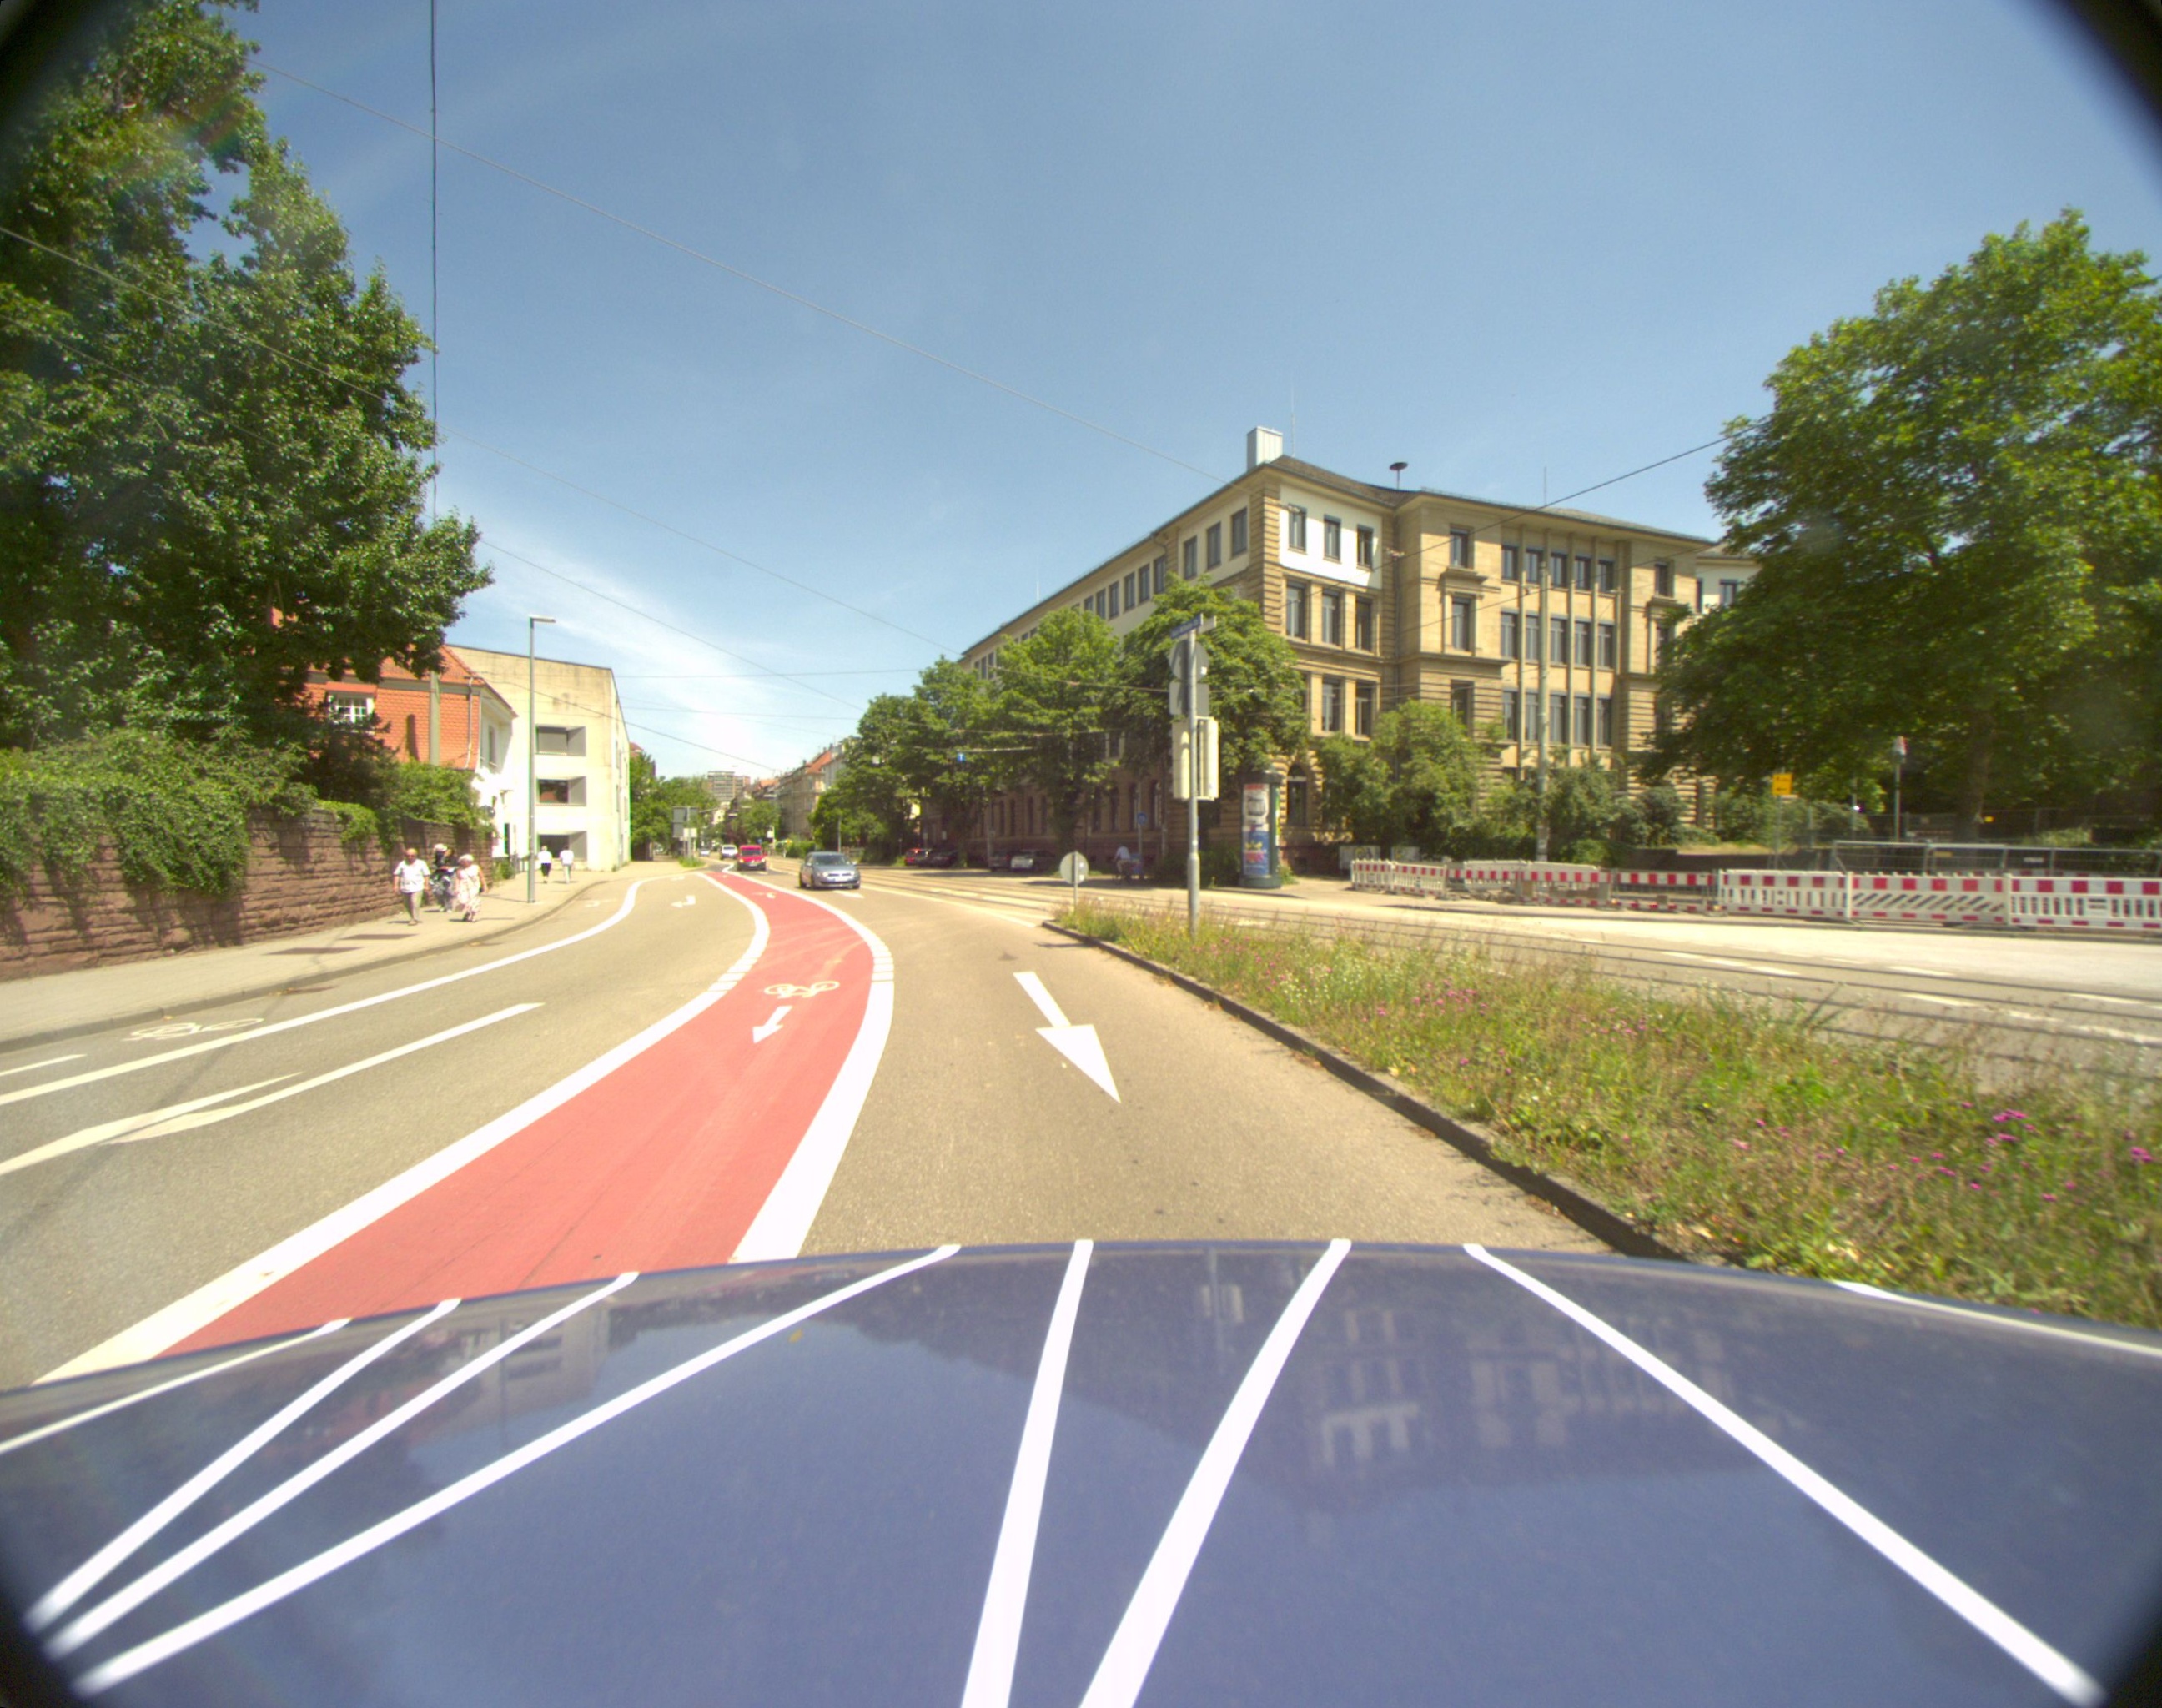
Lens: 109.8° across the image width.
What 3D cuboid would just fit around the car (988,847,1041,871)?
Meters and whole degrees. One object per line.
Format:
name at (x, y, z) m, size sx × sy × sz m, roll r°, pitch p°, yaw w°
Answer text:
car at (-4.361, 0.338, 50.035) m, size 1.567 × 1.454 × 3.156 m, roll -1°, pitch 1°, yaw 44°

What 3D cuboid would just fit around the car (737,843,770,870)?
car at (-23.208, 0.180, 53.833) m, size 1.836 × 1.756 × 4.270 m, roll -3°, pitch 1°, yaw -26°

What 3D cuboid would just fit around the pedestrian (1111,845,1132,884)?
pedestrian at (1.744, 0.434, 32.778) m, size 0.725 × 1.661 × 0.643 m, roll 0°, pitch 1°, yaw -24°

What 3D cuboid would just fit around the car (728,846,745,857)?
car at (-44.692, -0.306, 98.563) m, size 1.836 × 1.384 × 4.269 m, roll 0°, pitch 1°, yaw -26°

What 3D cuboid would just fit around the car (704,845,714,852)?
car at (-70.006, -1.052, 142.931) m, size 1.428 × 1.317 × 2.980 m, roll -3°, pitch 1°, yaw -28°

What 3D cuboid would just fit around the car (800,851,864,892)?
car at (-9.886, 0.636, 30.046) m, size 1.836 × 1.406 × 3.985 m, roll -1°, pitch 1°, yaw -26°

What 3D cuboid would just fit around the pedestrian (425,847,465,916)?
pedestrian at (-15.898, 0.687, 18.995) m, size 0.606 × 1.702 × 0.557 m, roll 2°, pitch -1°, yaw -27°

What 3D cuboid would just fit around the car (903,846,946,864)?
car at (-13.959, 0.104, 67.871) m, size 1.611 × 1.444 × 3.585 m, roll -2°, pitch 1°, yaw 33°

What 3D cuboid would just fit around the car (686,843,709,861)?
car at (-36.231, -0.190, 71.722) m, size 1.821 × 1.698 × 3.990 m, roll 0°, pitch 1°, yaw -28°

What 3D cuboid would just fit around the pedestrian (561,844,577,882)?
pedestrian at (-22.776, 0.401, 33.825) m, size 0.490 × 1.702 × 0.520 m, roll 2°, pitch -1°, yaw -27°

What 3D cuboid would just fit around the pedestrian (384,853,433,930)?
pedestrian at (-14.338, 0.793, 16.216) m, size 0.606 × 1.601 × 0.557 m, roll 2°, pitch -1°, yaw -26°

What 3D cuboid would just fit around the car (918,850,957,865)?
car at (-12.112, 0.301, 64.224) m, size 1.277 × 1.092 × 2.995 m, roll -1°, pitch 1°, yaw 43°

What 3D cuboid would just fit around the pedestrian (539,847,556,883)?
pedestrian at (-23.513, 0.489, 33.507) m, size 0.490 × 1.596 × 0.557 m, roll 2°, pitch -1°, yaw -27°

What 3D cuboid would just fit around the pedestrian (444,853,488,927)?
pedestrian at (-13.722, 0.796, 16.969) m, size 0.606 × 1.601 × 0.557 m, roll 2°, pitch -1°, yaw -26°

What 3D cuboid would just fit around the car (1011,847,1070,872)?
car at (-2.531, 0.314, 48.007) m, size 1.567 × 1.412 × 3.559 m, roll -1°, pitch 1°, yaw 45°
